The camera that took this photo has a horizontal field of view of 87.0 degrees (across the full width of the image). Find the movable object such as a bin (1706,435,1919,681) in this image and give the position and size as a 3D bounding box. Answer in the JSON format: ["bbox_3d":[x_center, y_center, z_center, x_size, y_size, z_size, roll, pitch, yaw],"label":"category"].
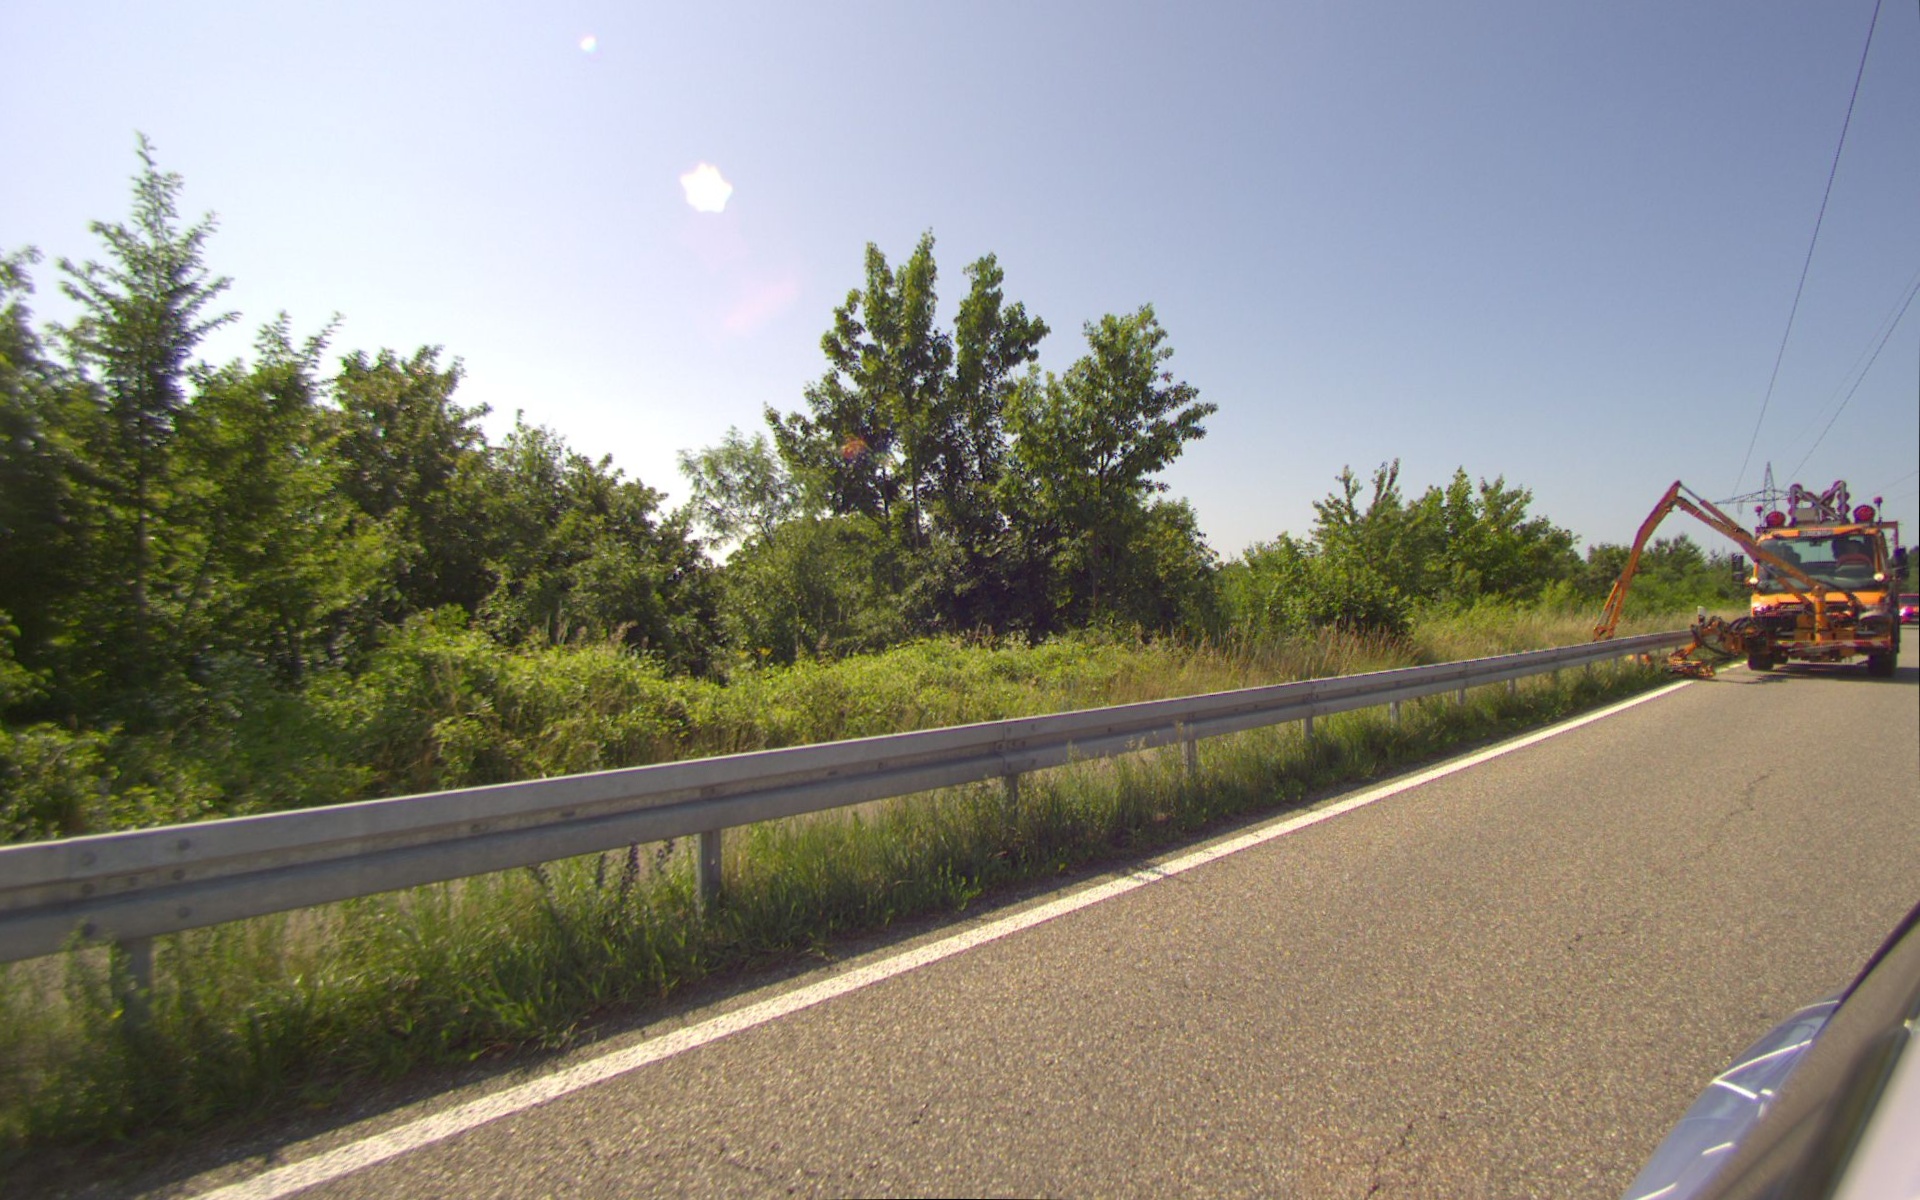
[{"bbox_3d":[17.387,-0.679,20.264,2.754,3.888,9.294,0,0,44],"label":"movable object such as a bin"}]

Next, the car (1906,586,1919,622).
[{"bbox_3d":[55.341,0.214,57.614,2.120,1.970,4.941,0,0,43],"label":"car"}]
